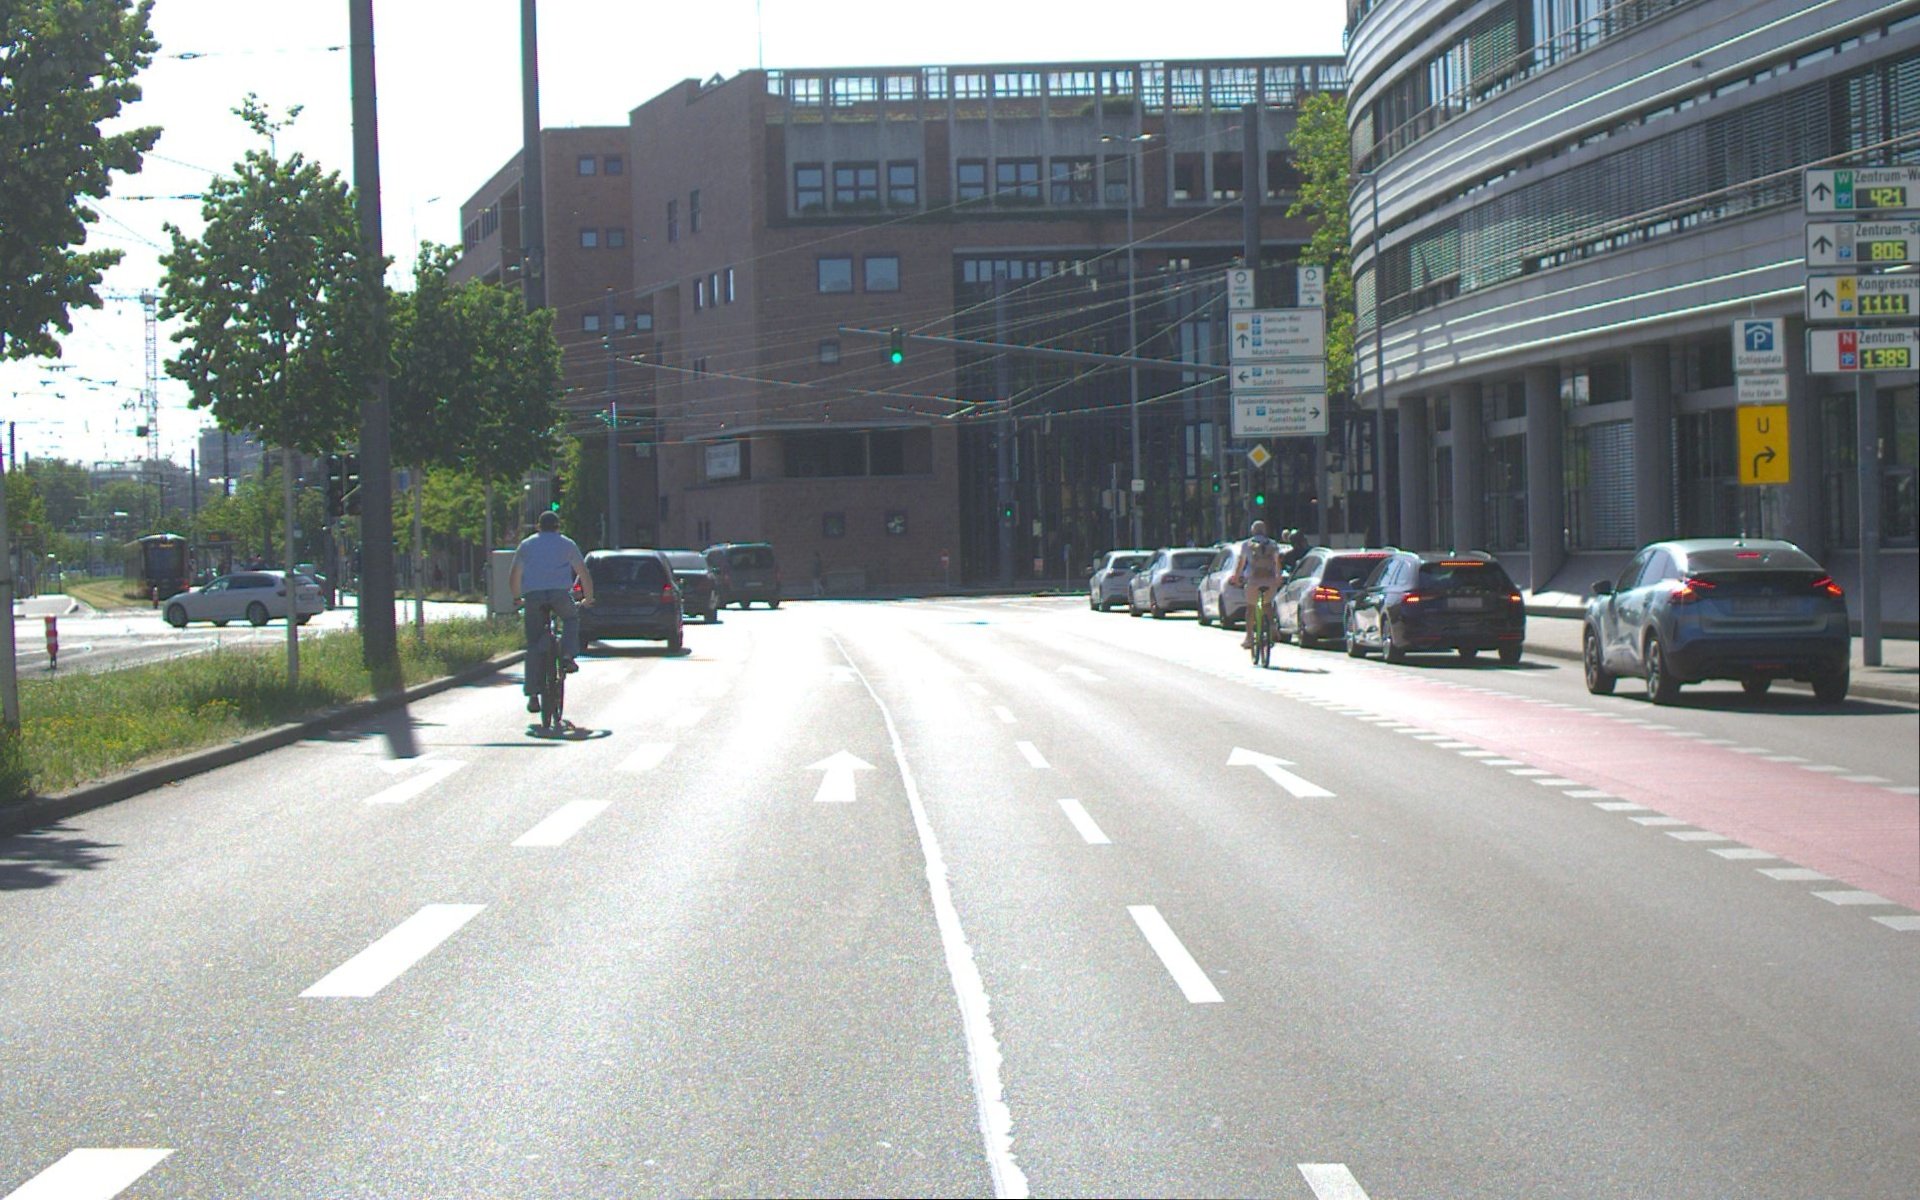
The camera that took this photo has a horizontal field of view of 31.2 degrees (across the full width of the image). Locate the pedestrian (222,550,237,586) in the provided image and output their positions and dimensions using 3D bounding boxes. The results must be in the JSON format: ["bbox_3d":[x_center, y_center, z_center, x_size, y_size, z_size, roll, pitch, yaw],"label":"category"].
[{"bbox_3d":[-33.169,-1.456,156.106,0.538,1.649,0.707,-2,1,-17],"label":"pedestrian"}]

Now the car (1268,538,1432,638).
[{"bbox_3d":[5.868,-0.215,52.269,1.721,1.391,4.788,-1,1,-2],"label":"car"}]

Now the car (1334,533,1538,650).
[{"bbox_3d":[6.246,-0.156,45.576,1.721,1.417,4.638,-2,1,-4],"label":"car"}]

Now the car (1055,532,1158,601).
[{"bbox_3d":[3.486,-0.830,82.342,1.906,1.578,4.139,0,1,-6],"label":"car"}]

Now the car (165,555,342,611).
[{"bbox_3d":[-19.265,-0.463,93.719,4.405,1.376,2.064,-1,1,29],"label":"car"}]

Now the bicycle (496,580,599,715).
[{"bbox_3d":[-3.550,0.385,29.791,0.686,1.066,2.697,0,1,-3],"label":"bicycle"}]

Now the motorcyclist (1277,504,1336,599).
[{"bbox_3d":[5.790,-0.811,57.427,0.829,1.556,0.942,0,1,-4],"label":"motorcyclist"}]

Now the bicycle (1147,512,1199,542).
[{"bbox_3d":[7.493,-2.586,121.056,1.668,0.991,0.673,-2,1,-22],"label":"bicycle"}]

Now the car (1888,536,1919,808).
[{"bbox_3d":[5.862,0.383,17.708,1.773,1.398,4.291,1,1,11],"label":"car"}]

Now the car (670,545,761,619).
[{"bbox_3d":[-5.193,-0.410,72.592,1.726,1.444,4.522,-2,1,-6],"label":"car"}]

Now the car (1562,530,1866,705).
[{"bbox_3d":[7.108,0.110,32.836,1.721,1.519,4.399,-1,1,-3],"label":"car"}]

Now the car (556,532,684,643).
[{"bbox_3d":[-5.070,-0.212,51.602,1.726,1.558,3.678,-2,1,-3],"label":"car"}]

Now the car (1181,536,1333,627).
[{"bbox_3d":[5.386,-0.358,62.940,1.905,1.578,4.139,0,1,-8],"label":"car"}]

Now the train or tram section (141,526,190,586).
[{"bbox_3d":[-42.063,-2.346,182.177,2.326,2.993,13.164,-2,1,-13],"label":"train or tram section"}]

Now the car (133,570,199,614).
[{"bbox_3d":[-33.113,-0.347,143.372,2.261,1.721,3.946,-2,1,-19],"label":"car"}]

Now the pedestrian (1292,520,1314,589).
[{"bbox_3d":[8.428,-1.117,84.433,0.427,1.640,0.562,-3,2,8],"label":"pedestrian"}]

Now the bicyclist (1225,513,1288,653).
[{"bbox_3d":[3.795,-0.225,44.064,0.649,1.746,1.045,-2,2,-1],"label":"bicyclist"}]

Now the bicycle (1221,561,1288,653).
[{"bbox_3d":[3.793,0.079,44.404,0.649,1.106,1.758,-2,2,-1],"label":"bicycle"}]

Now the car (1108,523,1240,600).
[{"bbox_3d":[4.398,-0.814,71.358,1.905,1.536,4.139,0,1,-9],"label":"car"}]

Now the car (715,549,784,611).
[{"bbox_3d":[-6.007,-0.587,97.929,1.781,1.697,4.139,0,1,-6],"label":"car"}]

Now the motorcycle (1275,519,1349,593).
[{"bbox_3d":[5.834,-0.728,57.139,0.829,1.197,2.391,0,1,-4],"label":"motorcycle"}]

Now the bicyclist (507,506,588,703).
[{"bbox_3d":[-3.545,0.027,29.614,0.617,1.664,1.020,0,1,-3],"label":"bicyclist"}]
